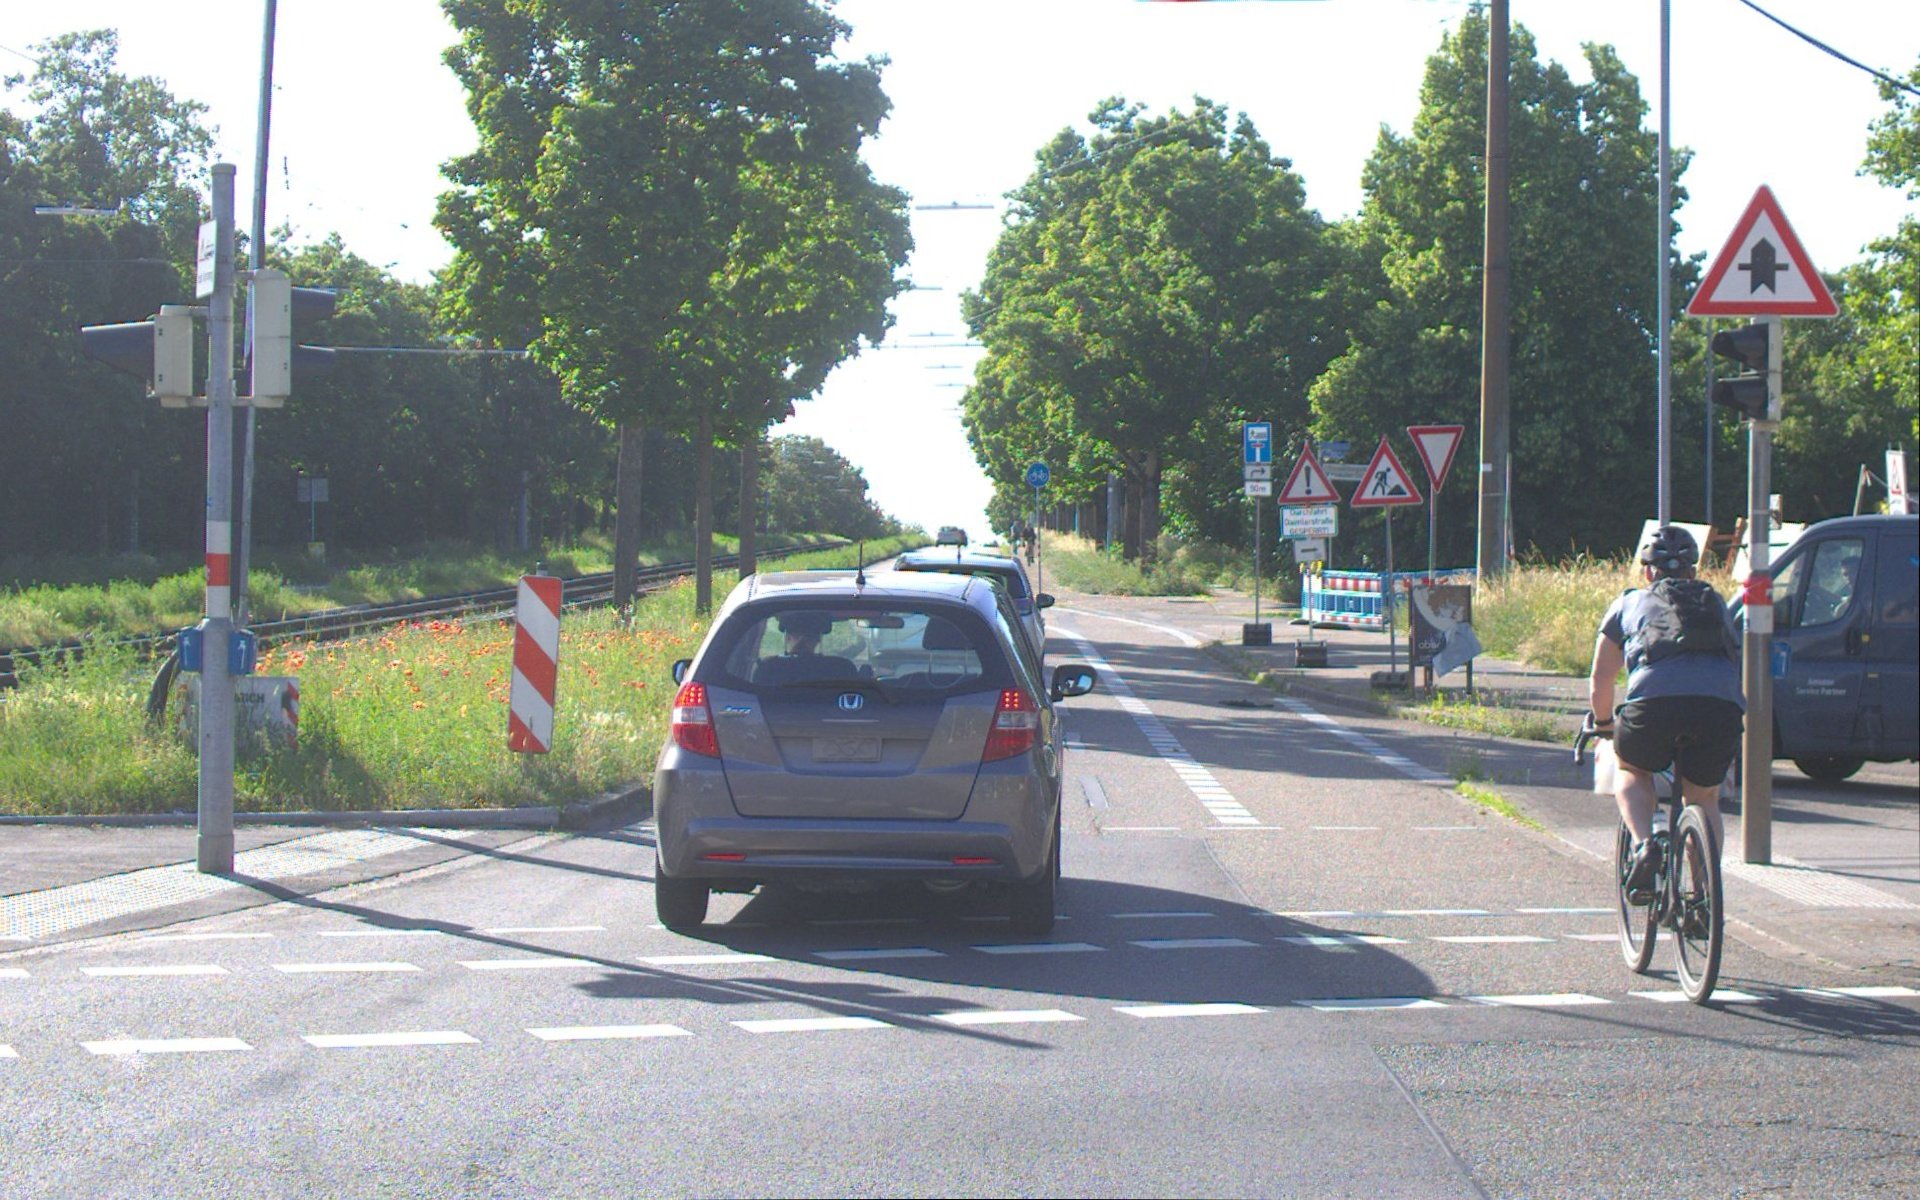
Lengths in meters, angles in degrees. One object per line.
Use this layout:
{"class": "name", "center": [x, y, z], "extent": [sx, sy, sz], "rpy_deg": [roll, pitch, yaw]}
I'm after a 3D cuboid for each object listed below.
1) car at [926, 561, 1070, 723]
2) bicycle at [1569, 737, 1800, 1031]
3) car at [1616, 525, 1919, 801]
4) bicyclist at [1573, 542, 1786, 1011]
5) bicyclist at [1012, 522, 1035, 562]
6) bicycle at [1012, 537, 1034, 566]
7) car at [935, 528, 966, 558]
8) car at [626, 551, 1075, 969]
{"class": "car", "center": [0.402, 0.396, 34.145], "extent": [1.351, 1.522, 3.123], "rpy_deg": [0, 0, 2]}
{"class": "bicycle", "center": [2.672, 1.017, 12.851], "extent": [0.524, 0.920, 2.089], "rpy_deg": [0, 0, 3]}
{"class": "car", "center": [7.900, 0.483, 26.591], "extent": [5.113, 2.063, 2.126], "rpy_deg": [1, 0, 33]}
{"class": "bicyclist", "center": [2.662, 0.631, 12.792], "extent": [0.615, 1.674, 0.933], "rpy_deg": [0, 0, 2]}
{"class": "bicyclist", "center": [2.489, -2.251, 134.380], "extent": [0.818, 1.519, 0.966], "rpy_deg": [2, -1, 2]}
{"class": "bicycle", "center": [2.469, -1.905, 134.358], "extent": [0.818, 1.044, 2.506], "rpy_deg": [2, -1, 2]}
{"class": "car", "center": [-0.661, -3.913, 235.307], "extent": [1.993, 2.007, 4.000], "rpy_deg": [0, 0, 2]}
{"class": "car", "center": [-0.371, 0.599, 15.283], "extent": [1.671, 1.510, 3.674], "rpy_deg": [3, 2, 2]}
